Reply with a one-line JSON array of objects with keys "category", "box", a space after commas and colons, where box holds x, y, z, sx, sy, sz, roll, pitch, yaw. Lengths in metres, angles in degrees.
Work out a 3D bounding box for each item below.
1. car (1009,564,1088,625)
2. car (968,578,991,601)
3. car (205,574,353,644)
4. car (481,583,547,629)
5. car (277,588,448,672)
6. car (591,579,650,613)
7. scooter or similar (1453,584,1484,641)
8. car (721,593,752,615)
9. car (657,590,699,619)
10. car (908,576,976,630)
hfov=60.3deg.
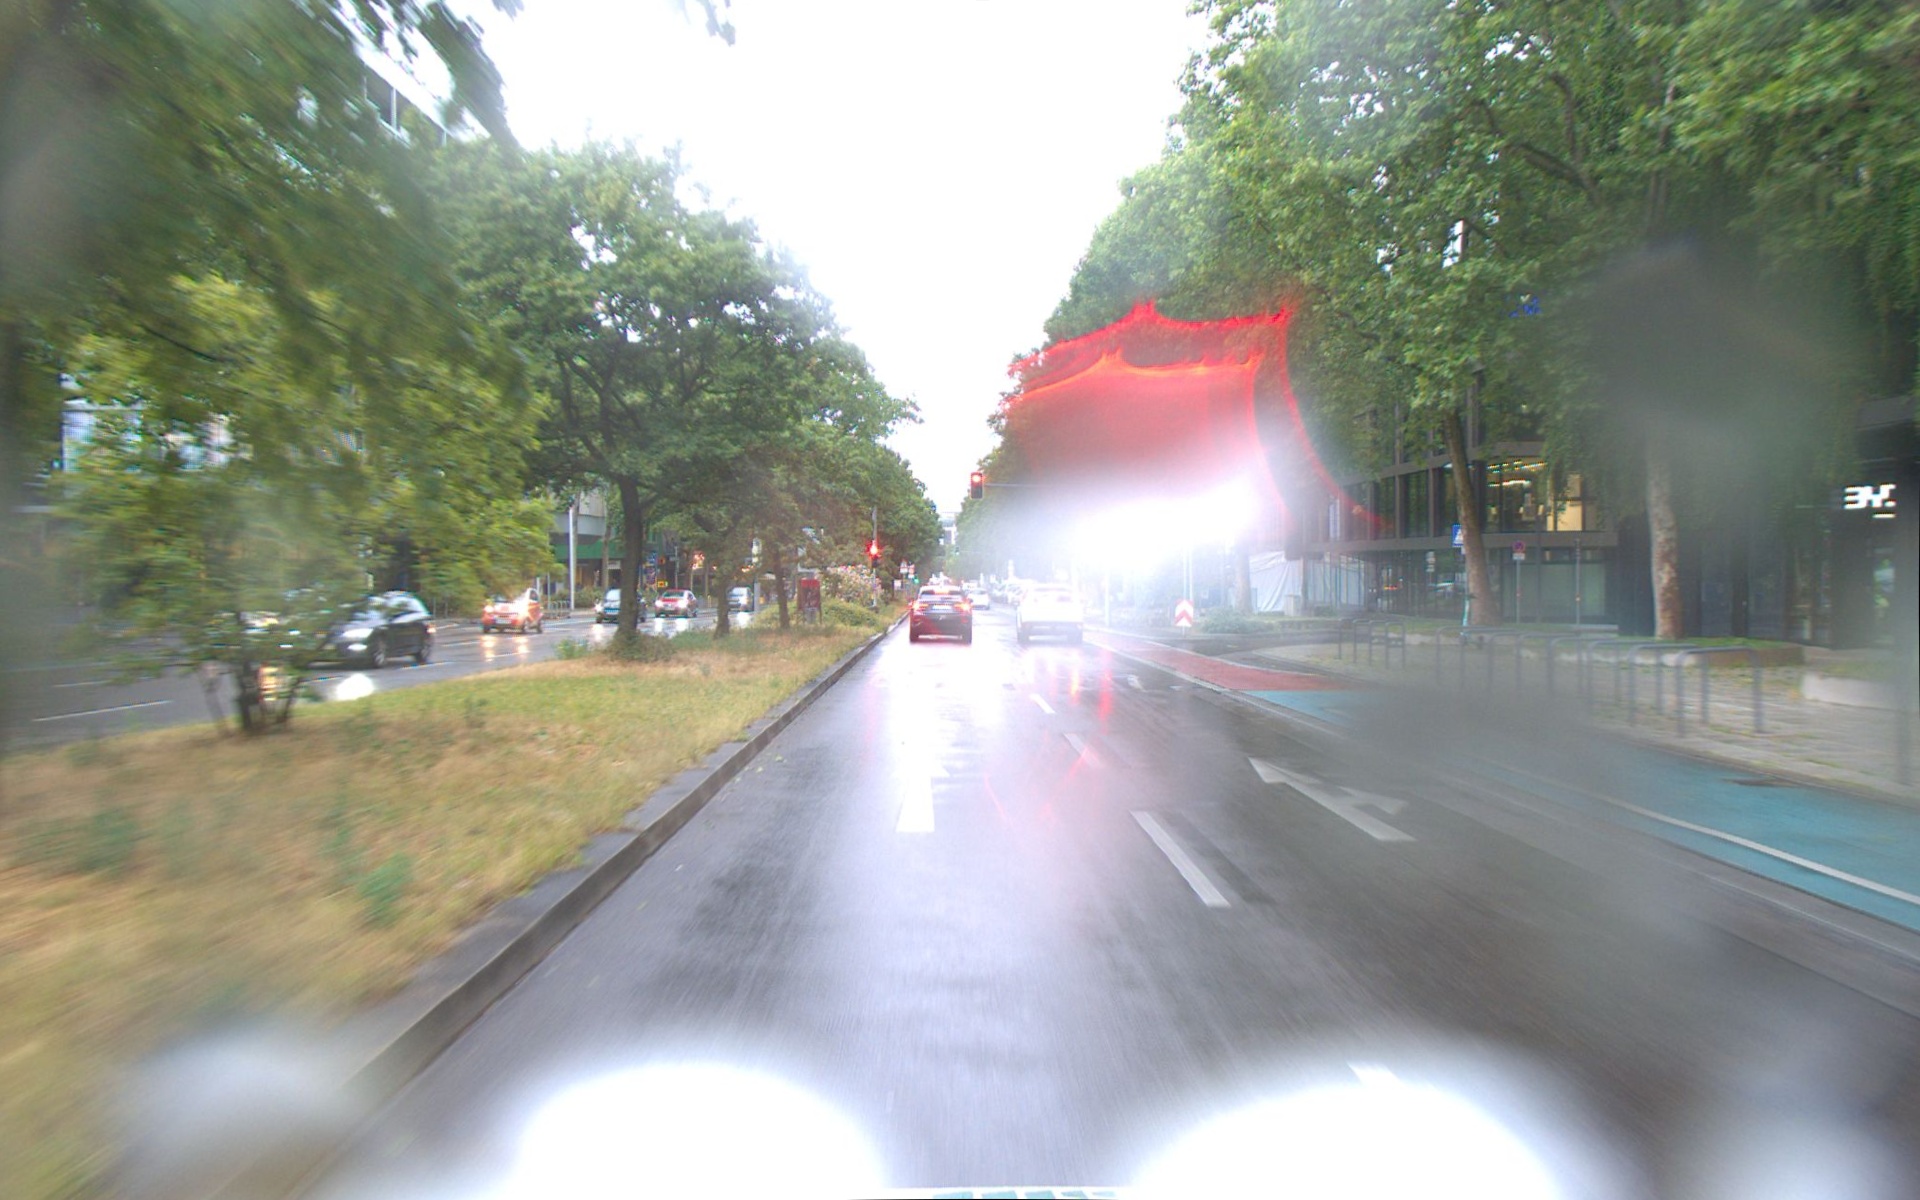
[{"category": "car", "box": [2.537, -0.209, 48.559, 1.953, 1.684, 4.888, 0, 1, -1]}, {"category": "car", "box": [1.481, -0.801, 124.592, 1.587, 1.695, 3.999, -1, 1, -1]}, {"category": "car", "box": [-14.922, 0.157, 36.458, 1.806, 1.454, 3.642, 0, 1, -1]}, {"category": "car", "box": [-14.868, 0.187, 55.246, 1.463, 1.489, 2.732, 0, 1, 0]}, {"category": "car", "box": [-11.572, 0.545, 32.318, 1.712, 1.501, 4.097, 1, 0, 2]}, {"category": "car", "box": [-14.765, -0.192, 72.070, 1.806, 1.413, 3.999, 0, 1, -1]}, {"category": "scooter or similar", "box": [11.462, 0.277, 37.273, 0.374, 1.249, 1.075, 0, 1, 35]}, {"category": "car", "box": [-14.788, 0.267, 109.476, 1.582, 1.418, 3.596, 1, -1, -1]}, {"category": "car", "box": [-14.828, 0.233, 87.229, 1.581, 1.418, 4.184, 0, 1, -1]}, {"category": "car", "box": [-0.543, 0.066, 48.411, 1.879, 1.517, 3.999, 0, 1, -1]}]
